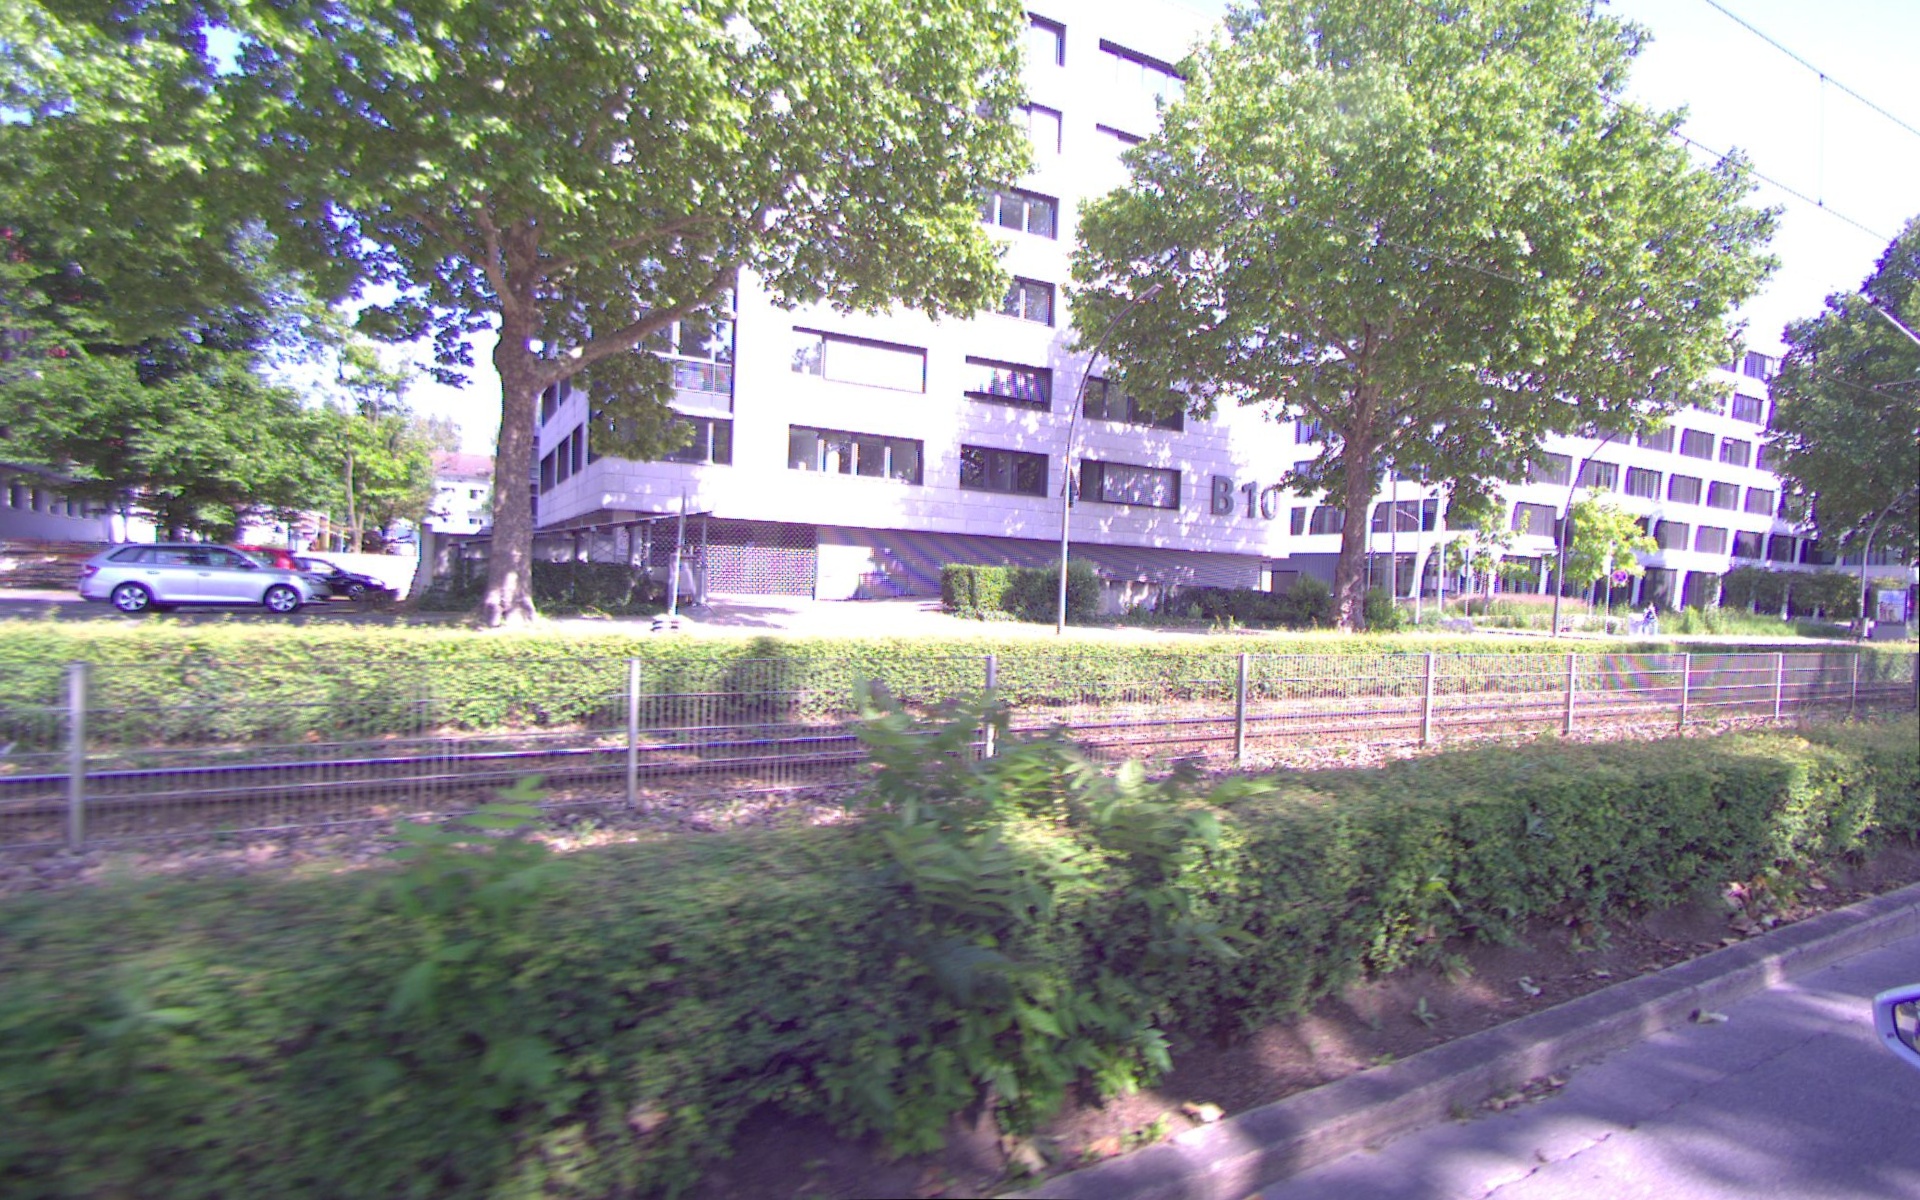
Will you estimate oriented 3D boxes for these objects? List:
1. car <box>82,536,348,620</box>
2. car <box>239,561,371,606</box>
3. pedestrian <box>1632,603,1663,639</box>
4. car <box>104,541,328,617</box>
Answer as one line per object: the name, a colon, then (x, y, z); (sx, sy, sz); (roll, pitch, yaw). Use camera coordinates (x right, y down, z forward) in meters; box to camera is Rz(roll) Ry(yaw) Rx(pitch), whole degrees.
car: (-15.467, -0.425, 21.171); (4.298, 1.570, 1.733); (1, 2, -31)
car: (-22.514, -0.563, 34.684); (3.710, 1.373, 1.635); (1, 2, -31)
pedestrian: (31.882, 0.979, 46.569); (1.002, 1.609, 0.717); (2, 2, -28)
car: (-16.966, -0.471, 23.171); (3.954, 1.570, 1.733); (1, 2, -31)
